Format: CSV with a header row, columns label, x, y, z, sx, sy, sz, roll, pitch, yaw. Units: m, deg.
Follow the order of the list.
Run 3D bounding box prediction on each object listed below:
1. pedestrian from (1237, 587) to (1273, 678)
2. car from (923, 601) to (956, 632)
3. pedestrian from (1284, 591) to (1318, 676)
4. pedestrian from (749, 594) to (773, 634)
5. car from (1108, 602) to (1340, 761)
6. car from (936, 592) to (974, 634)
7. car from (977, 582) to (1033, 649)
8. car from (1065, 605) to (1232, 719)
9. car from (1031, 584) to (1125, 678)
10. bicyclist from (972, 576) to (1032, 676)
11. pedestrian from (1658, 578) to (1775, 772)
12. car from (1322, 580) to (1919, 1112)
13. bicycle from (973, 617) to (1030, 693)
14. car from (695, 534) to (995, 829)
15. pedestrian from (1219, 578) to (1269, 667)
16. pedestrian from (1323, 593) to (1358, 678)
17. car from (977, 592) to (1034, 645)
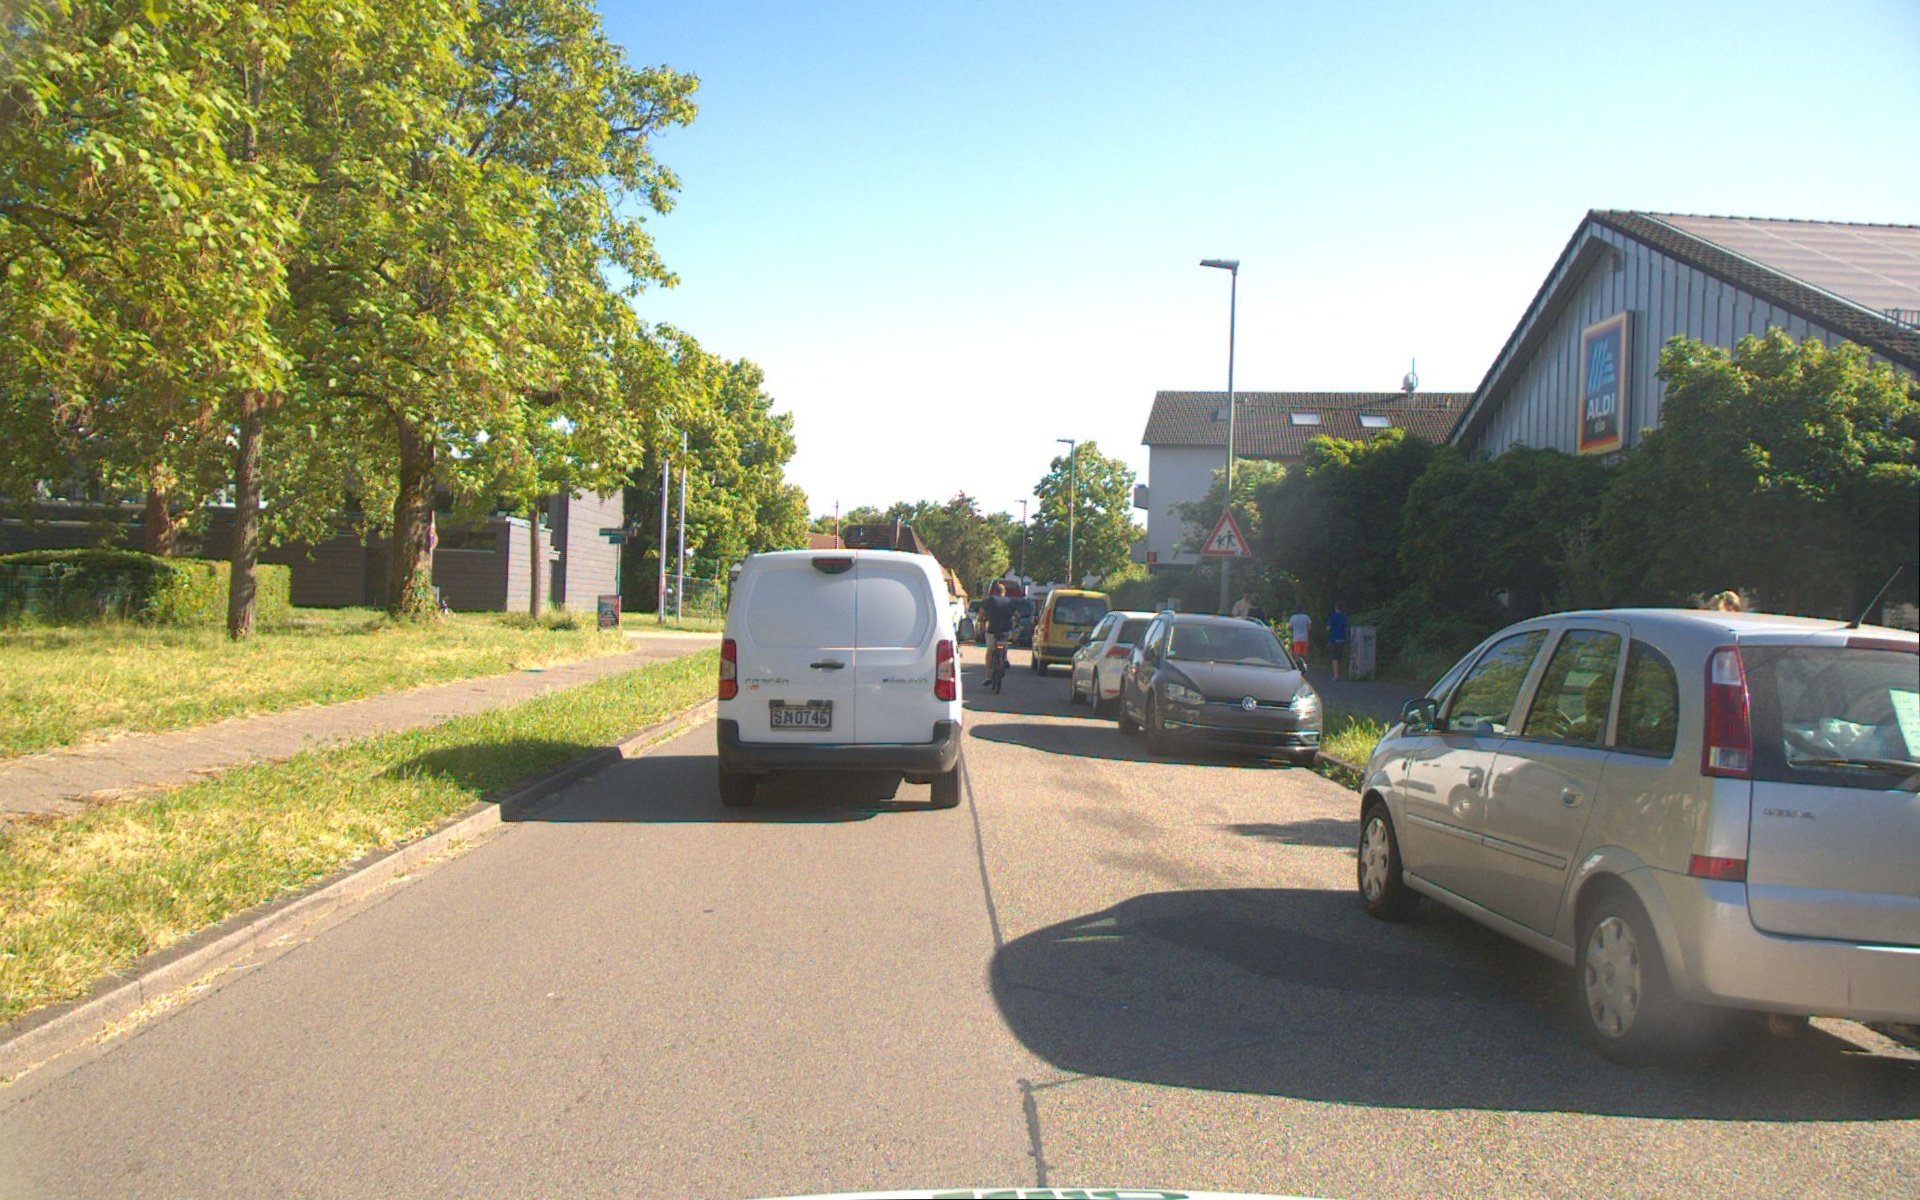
label,x,y,z,sx,sy,sz,roll,pitch,yaw
pedestrian,5.545,0.606,31.086,0.555,1.665,0.547,2,0,4
car,-1.333,1.138,111.739,1.766,1.874,4.002,4,-1,4
pedestrian,6.821,0.666,33.143,0.555,1.665,0.547,2,0,4
pedestrian,-7.522,0.530,62.589,0.500,1.470,0.637,4,0,32
car,2.769,0.798,18.303,1.771,1.468,4.362,2,0,-1
car,-0.292,0.744,89.604,1.768,2.104,3.998,4,-1,-2
car,1.851,0.672,69.521,1.829,2.607,4.765,4,-1,-2
car,2.675,0.847,24.306,1.790,1.477,3.998,2,0,-3
car,2.510,0.643,36.064,1.689,1.869,4.000,2,0,0
bicyclist,0.690,0.438,27.691,0.887,1.612,0.966,2,-1,-3
pedestrian,7.369,0.711,16.143,0.781,1.813,0.809,2,0,7
car,3.040,0.830,7.268,1.647,1.627,4.024,5,-1,-4
bicycle,0.673,0.897,27.579,0.771,1.158,2.279,2,0,-2
car,-0.787,0.537,13.233,1.953,1.914,4.288,2,0,-1
pedestrian,6.222,0.494,36.271,0.779,1.894,0.873,2,0,-9
pedestrian,7.586,0.693,33.014,0.555,1.665,0.547,2,0,4
car,1.703,0.720,62.667,1.768,1.816,3.998,4,-1,-2
